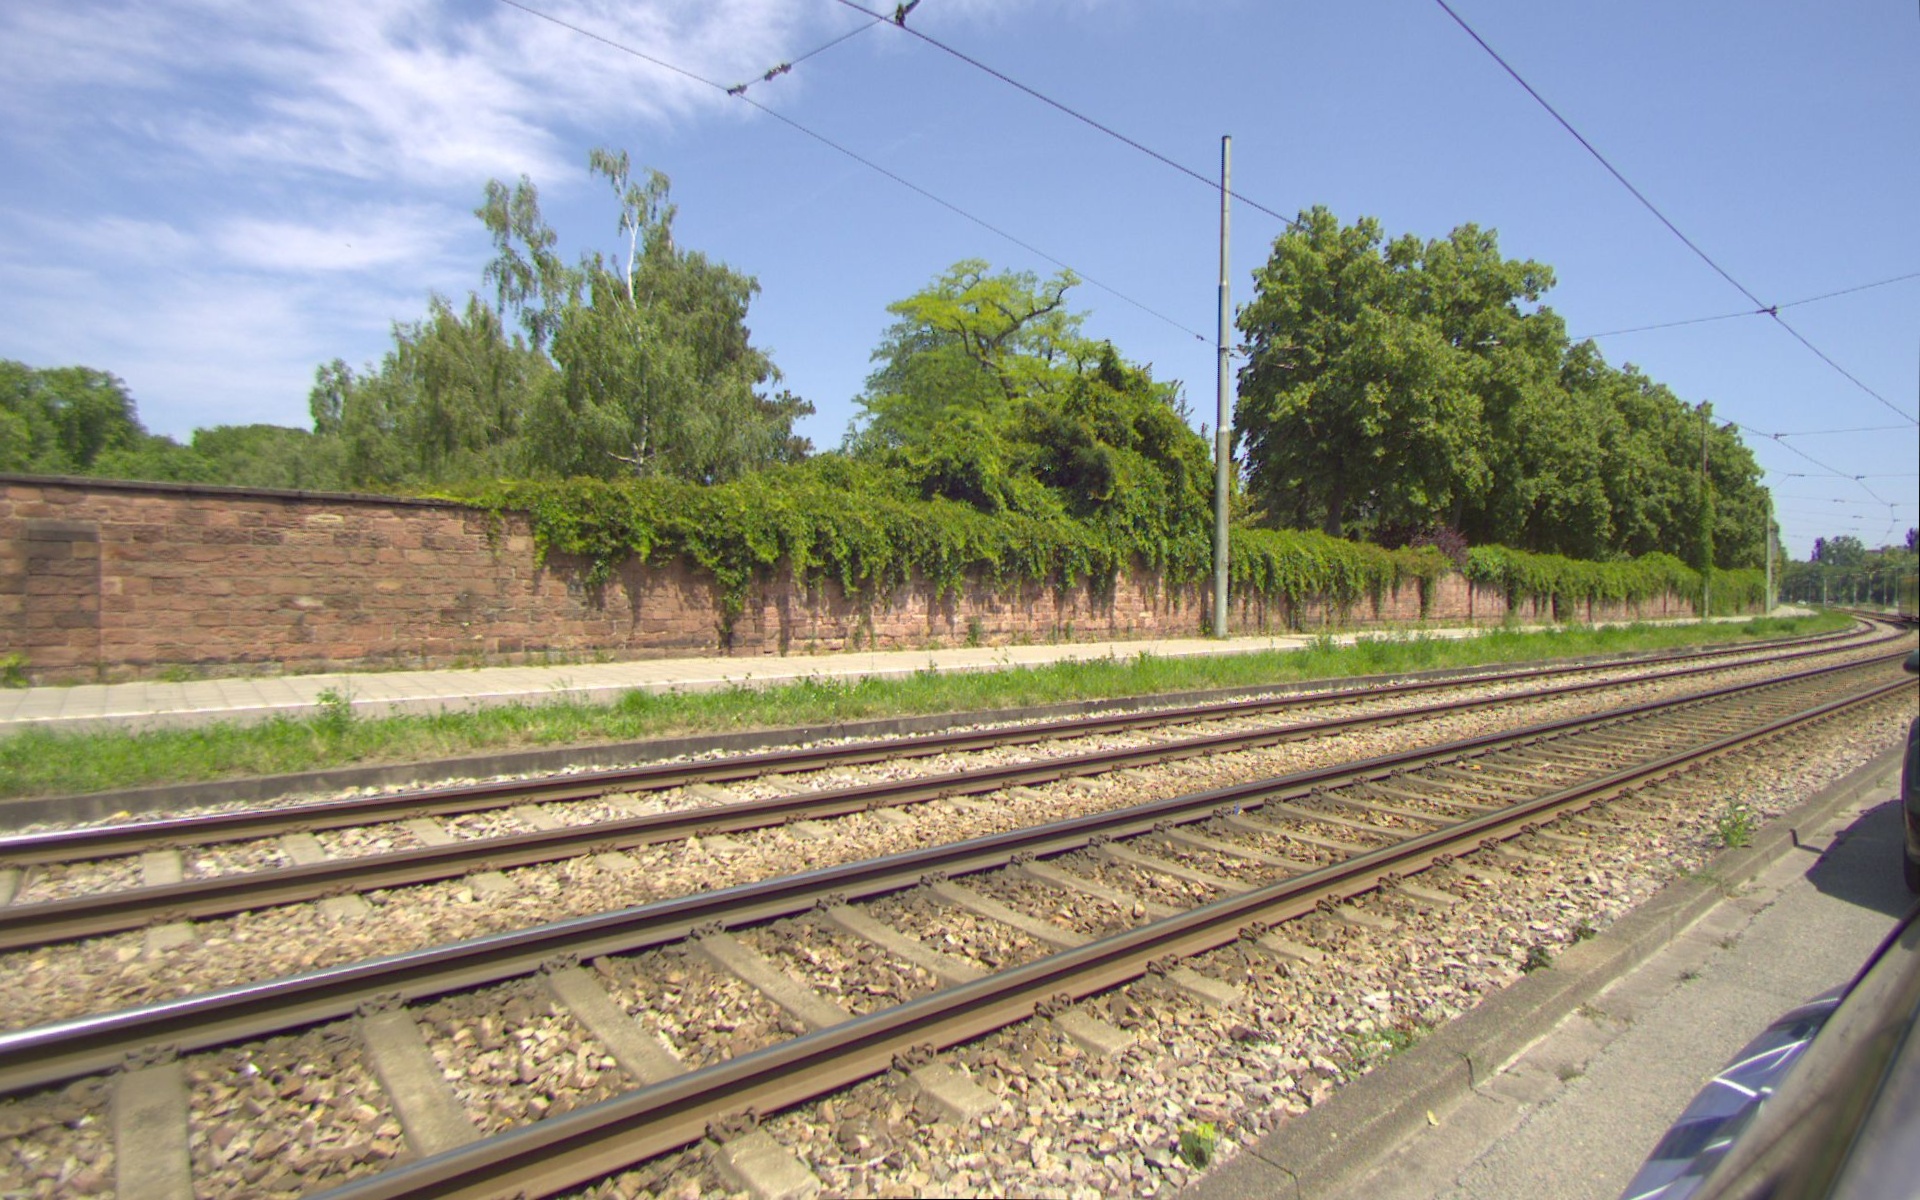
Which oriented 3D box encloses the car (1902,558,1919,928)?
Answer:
[{"bbox_3d":[6.331,0.619,5.186,4.349,1.603,1.757,0,0,-41],"label":"car"}]
